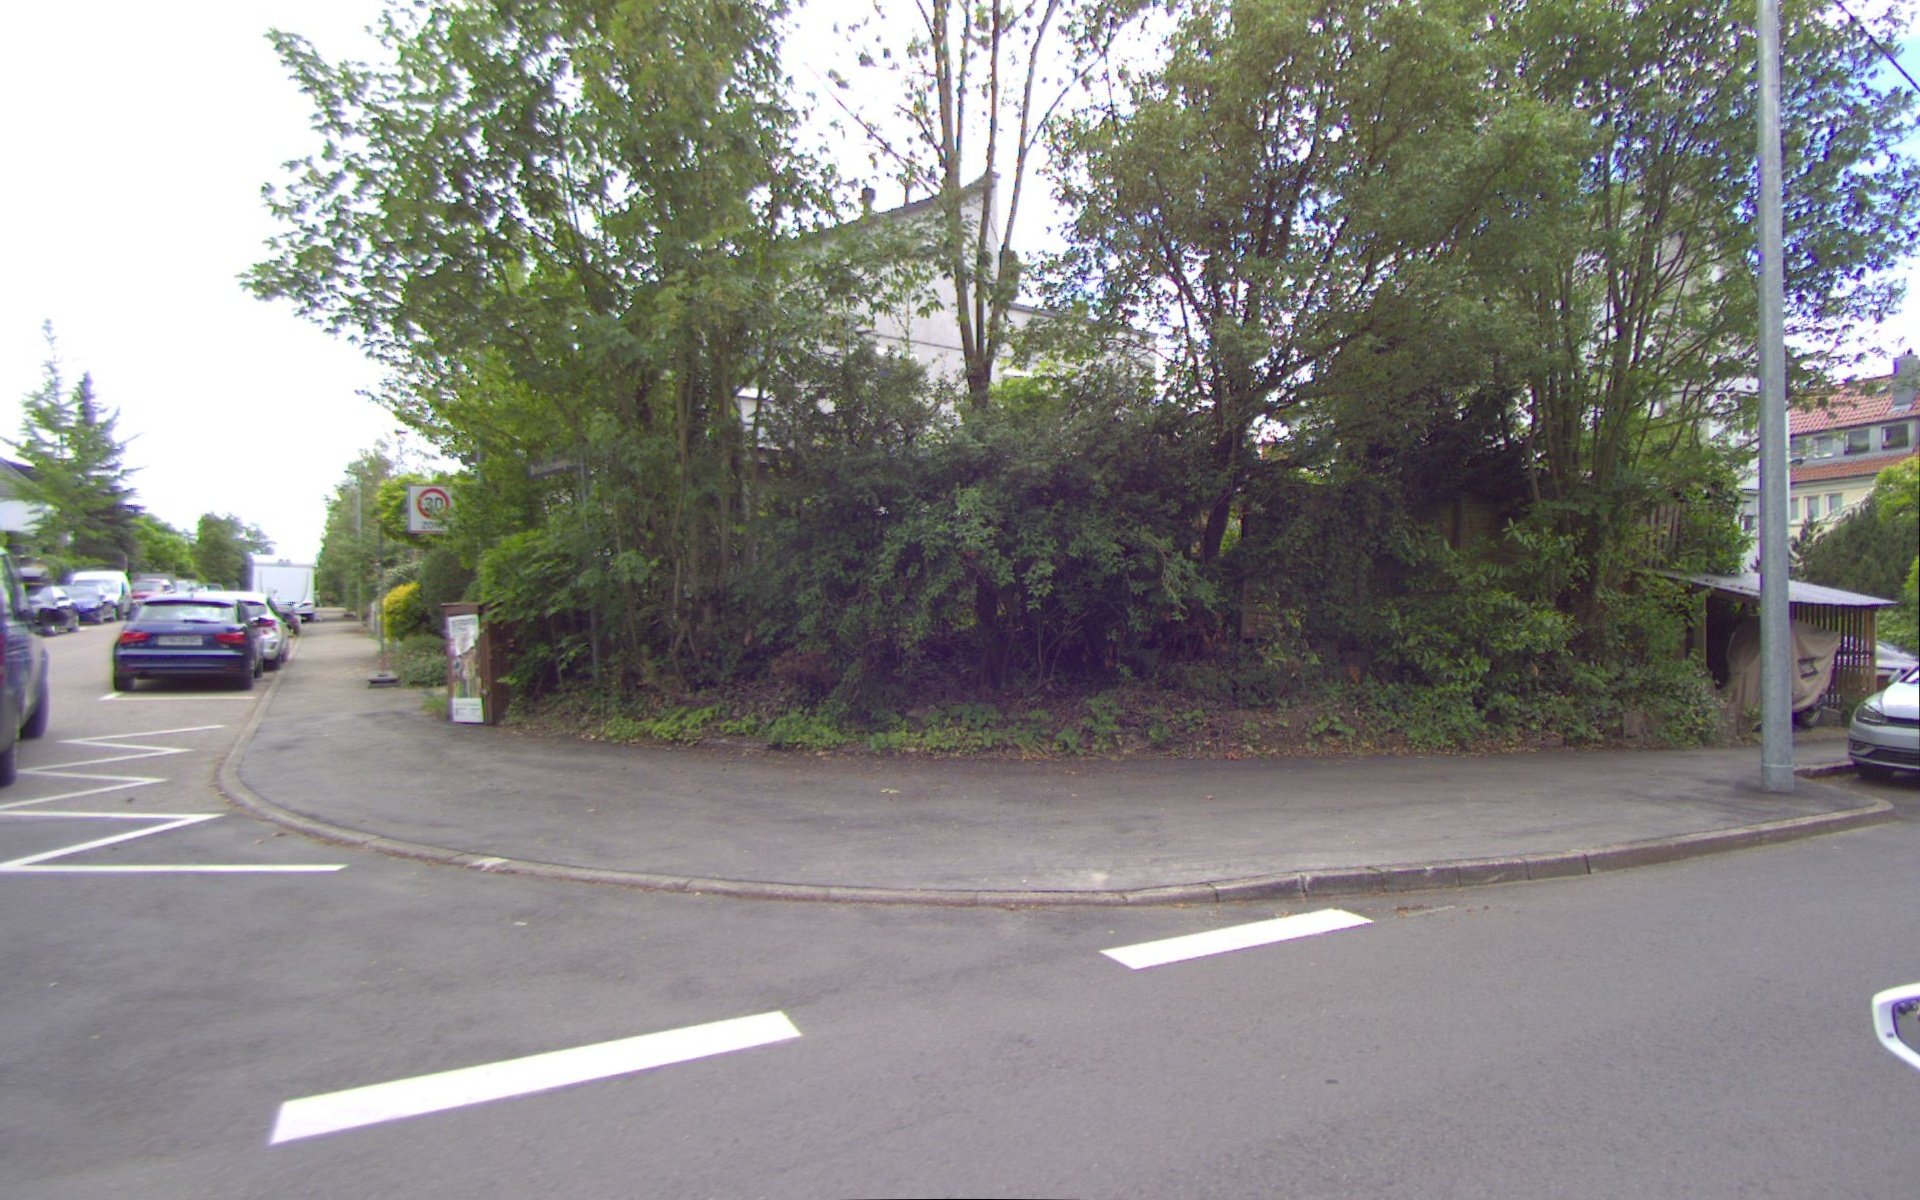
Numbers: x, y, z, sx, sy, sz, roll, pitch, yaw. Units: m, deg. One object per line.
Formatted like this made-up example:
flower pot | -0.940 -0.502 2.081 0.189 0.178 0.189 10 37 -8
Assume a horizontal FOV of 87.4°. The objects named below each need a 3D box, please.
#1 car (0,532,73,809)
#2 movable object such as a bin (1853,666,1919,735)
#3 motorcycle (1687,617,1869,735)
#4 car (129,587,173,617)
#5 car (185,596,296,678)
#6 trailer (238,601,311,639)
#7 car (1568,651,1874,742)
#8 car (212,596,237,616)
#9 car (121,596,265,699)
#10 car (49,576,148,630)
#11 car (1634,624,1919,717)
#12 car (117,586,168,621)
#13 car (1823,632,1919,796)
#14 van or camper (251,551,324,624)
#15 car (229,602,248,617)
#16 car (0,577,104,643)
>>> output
car | -8.631 0.449 8.137 1.926 1.905 4.479 1 0 -39
movable object such as a bin | 13.415 1.432 14.447 0.690 0.921 0.589 2 0 -21
motorcycle | 11.368 1.028 13.932 2.858 1.505 0.807 2 0 -26
car | -40.786 0.097 50.695 1.516 1.431 3.515 1 0 -36
car | -14.082 0.660 19.815 1.513 1.431 3.763 1 0 -32
trailer | -21.511 0.599 31.617 1.462 1.111 3.359 1 0 -27
car | 13.419 1.666 18.006 1.627 1.405 4.037 1 -4 -27
car | -55.892 0.467 76.340 1.516 1.431 3.515 1 0 -36
car | -12.151 0.683 16.084 1.655 1.431 3.516 1 0 -35
car | -30.822 0.102 36.063 1.977 1.818 3.967 2 0 -30
car | 16.187 1.301 19.835 1.853 1.460 4.468 2 0 -24
car | -35.268 0.129 43.401 1.516 1.431 3.515 1 0 -36
car | 10.764 1.139 10.190 4.025 1.487 1.698 2 0 -28
van or camper | -29.182 -0.501 43.795 2.281 2.883 7.555 1 0 -31
car | -72.537 0.928 100.990 1.516 1.431 3.515 1 0 -36
car | -26.900 0.267 29.477 1.977 1.818 3.967 2 0 -30
